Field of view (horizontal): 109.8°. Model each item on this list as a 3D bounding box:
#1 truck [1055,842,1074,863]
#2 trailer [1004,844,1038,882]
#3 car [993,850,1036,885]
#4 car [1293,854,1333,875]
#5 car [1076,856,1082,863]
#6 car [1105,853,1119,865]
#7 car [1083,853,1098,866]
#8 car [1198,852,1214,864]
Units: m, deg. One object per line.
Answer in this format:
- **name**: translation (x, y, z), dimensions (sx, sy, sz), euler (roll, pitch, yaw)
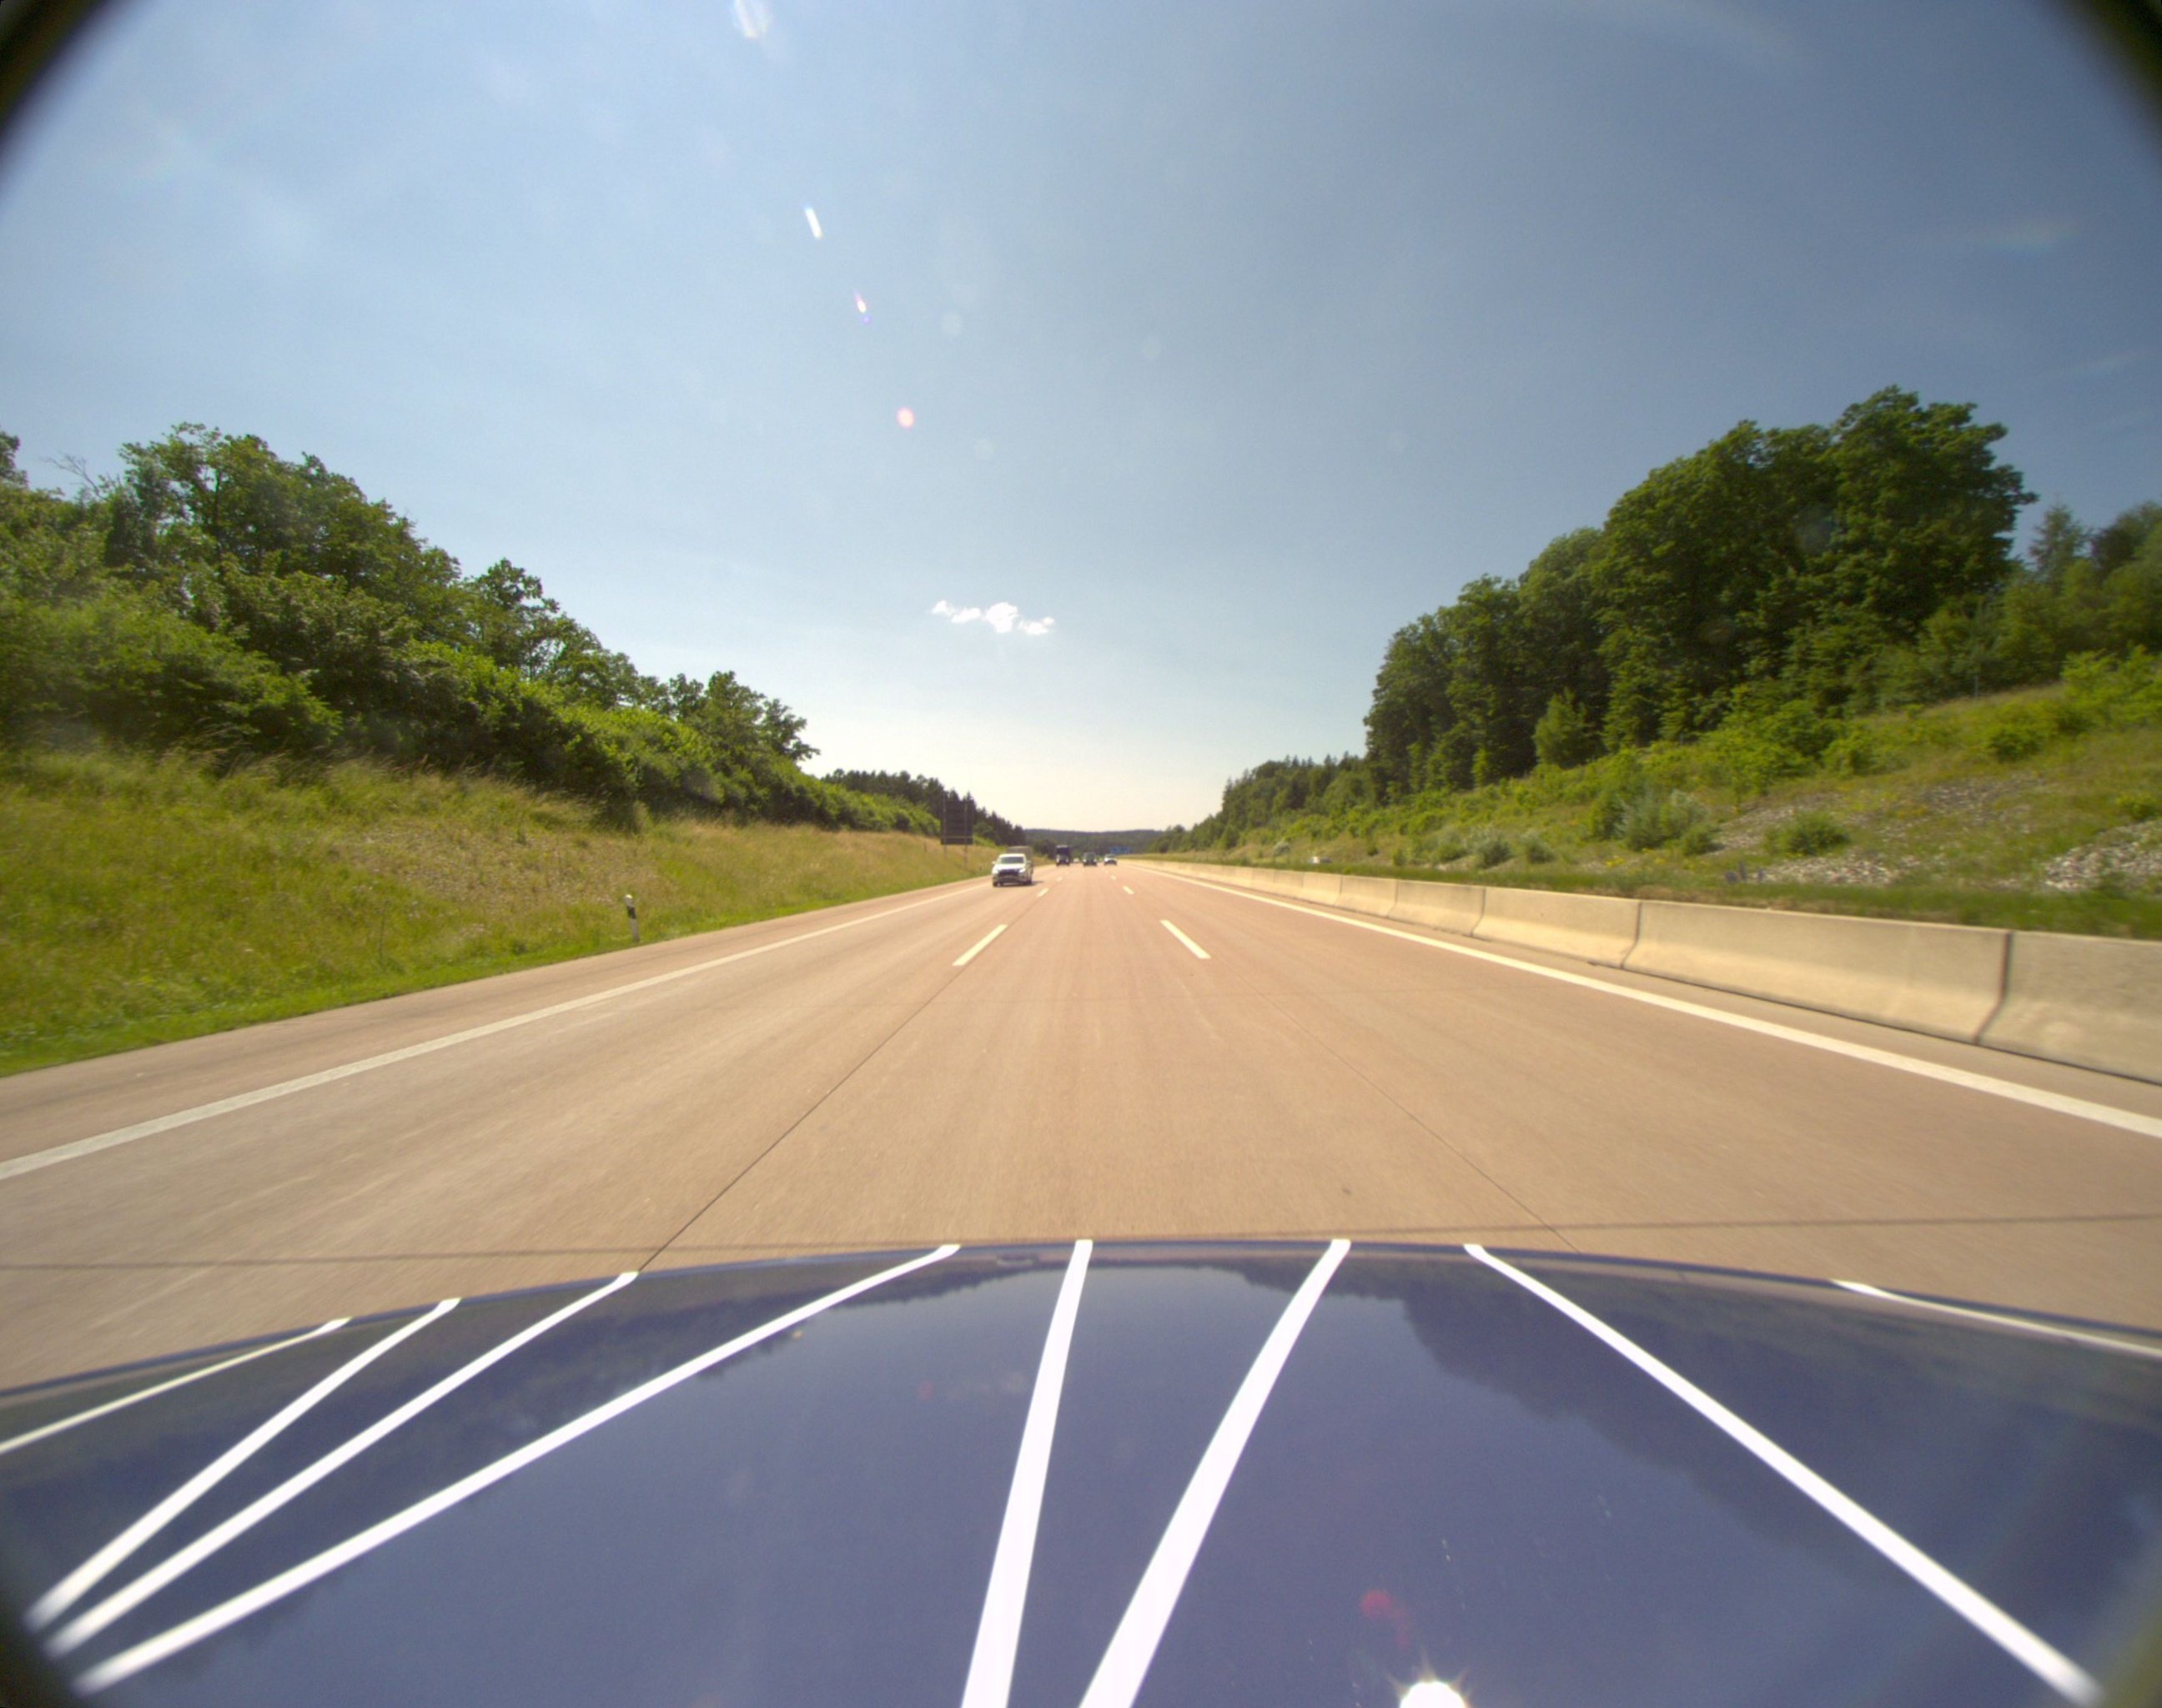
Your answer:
- **truck**: translation (-2.523, -0.132, 120.830), dimensions (2.508, 3.199, 7.786), euler (-2, -1, 2)
- **trailer**: translation (-3.558, 0.506, 45.559), dimensions (1.662, 2.151, 4.016), euler (-2, 0, 0)
- **car**: translation (-3.524, 0.702, 41.010), dimensions (1.896, 1.718, 5.185), euler (-2, 0, -1)
- **car**: translation (19.667, 0.882, 64.623), dimensions (1.896, 1.642, 4.663), euler (-2, -1, -1)
- **car**: translation (-0.589, 1.858, 251.373), dimensions (1.998, 2.002, 4.000), euler (-2, 0, 0)
- **car**: translation (4.650, 0.715, 114.876), dimensions (1.895, 1.718, 4.564), euler (-2, -1, 0)
- **car**: translation (1.347, 0.738, 106.393), dimensions (1.998, 1.805, 4.565), euler (-2, 0, 3)
- **car**: translation (21.797, 0.727, 132.606), dimensions (1.896, 2.052, 4.663), euler (-2, -1, -1)
